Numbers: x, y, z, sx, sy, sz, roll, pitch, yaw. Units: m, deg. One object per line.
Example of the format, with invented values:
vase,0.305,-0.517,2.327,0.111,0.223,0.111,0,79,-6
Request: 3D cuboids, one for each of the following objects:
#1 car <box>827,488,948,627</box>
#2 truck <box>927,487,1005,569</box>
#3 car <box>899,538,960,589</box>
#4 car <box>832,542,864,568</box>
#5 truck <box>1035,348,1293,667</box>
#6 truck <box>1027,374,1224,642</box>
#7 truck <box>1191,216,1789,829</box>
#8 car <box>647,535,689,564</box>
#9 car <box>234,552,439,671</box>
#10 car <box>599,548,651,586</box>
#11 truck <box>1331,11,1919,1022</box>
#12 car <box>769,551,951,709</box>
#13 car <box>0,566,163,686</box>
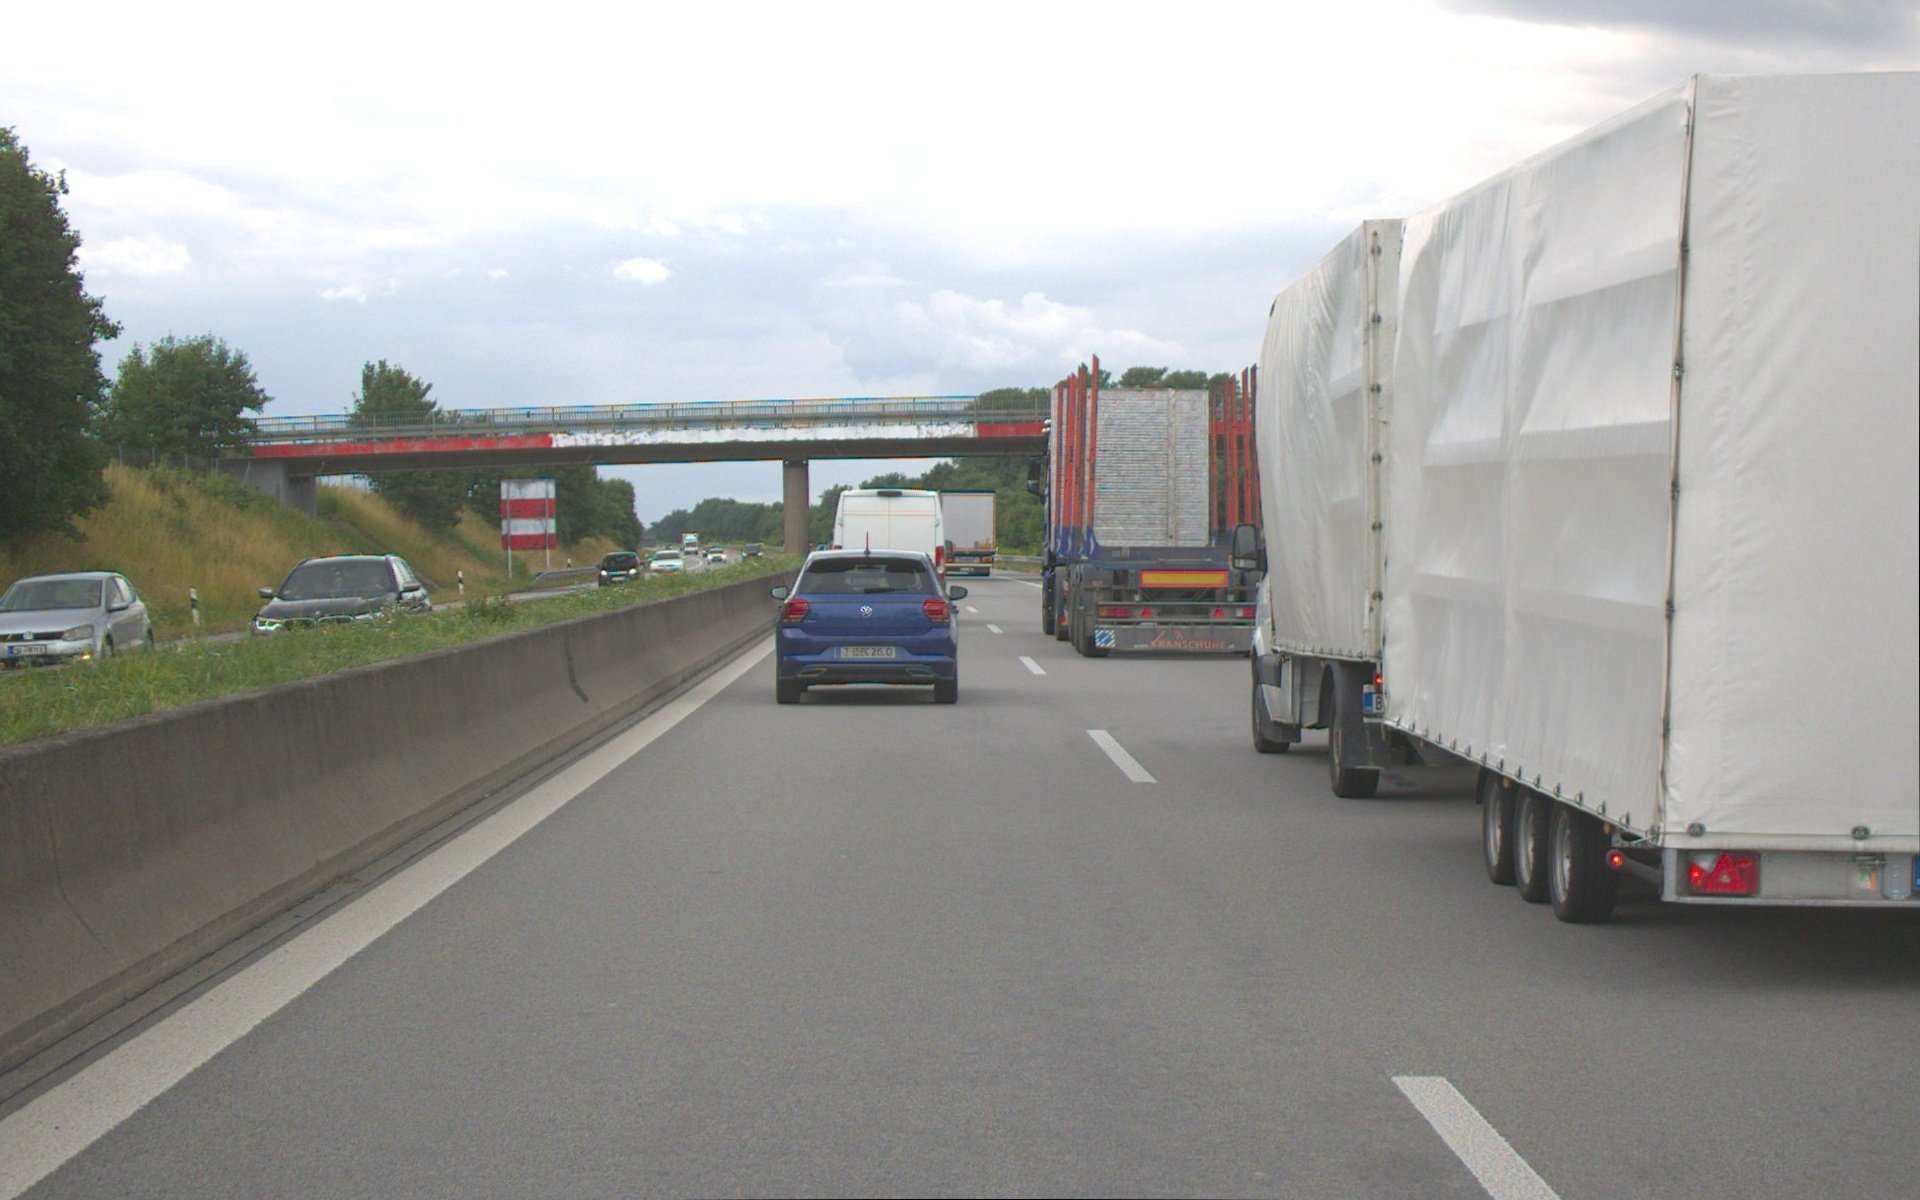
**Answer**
car,-1.342,-0.813,64.456,2.130,2.474,5.840,-1,1,-1
truck,0.218,-3.396,163.102,3.110,3.677,9.324,-2,1,-2
car,-0.880,-1.046,97.591,1.663,1.402,3.649,0,1,-1
car,-7.180,-2.889,220.583,1.993,1.678,4.000,0,1,-1
truck,2.723,-1.334,49.435,2.673,4.031,11.109,-1,2,-2
truck,2.567,-1.470,54.876,2.673,4.031,5.513,-1,2,-2
truck,3.045,-0.473,21.795,2.429,3.232,7.248,0,1,-2
car,-16.131,-2.798,189.989,1.895,1.456,4.542,-3,1,-1
car,-8.140,0.112,45.263,1.848,1.373,4.601,-3,1,-1
car,-13.353,-1.330,137.032,1.646,1.373,4.235,-3,1,-1
truck,3.290,-0.329,14.537,2.415,3.211,7.144,0,1,-2
car,-0.952,0.253,33.210,1.663,1.402,3.649,0,1,-1
car,-11.633,0.313,44.733,1.646,1.404,3.888,-3,1,-2
